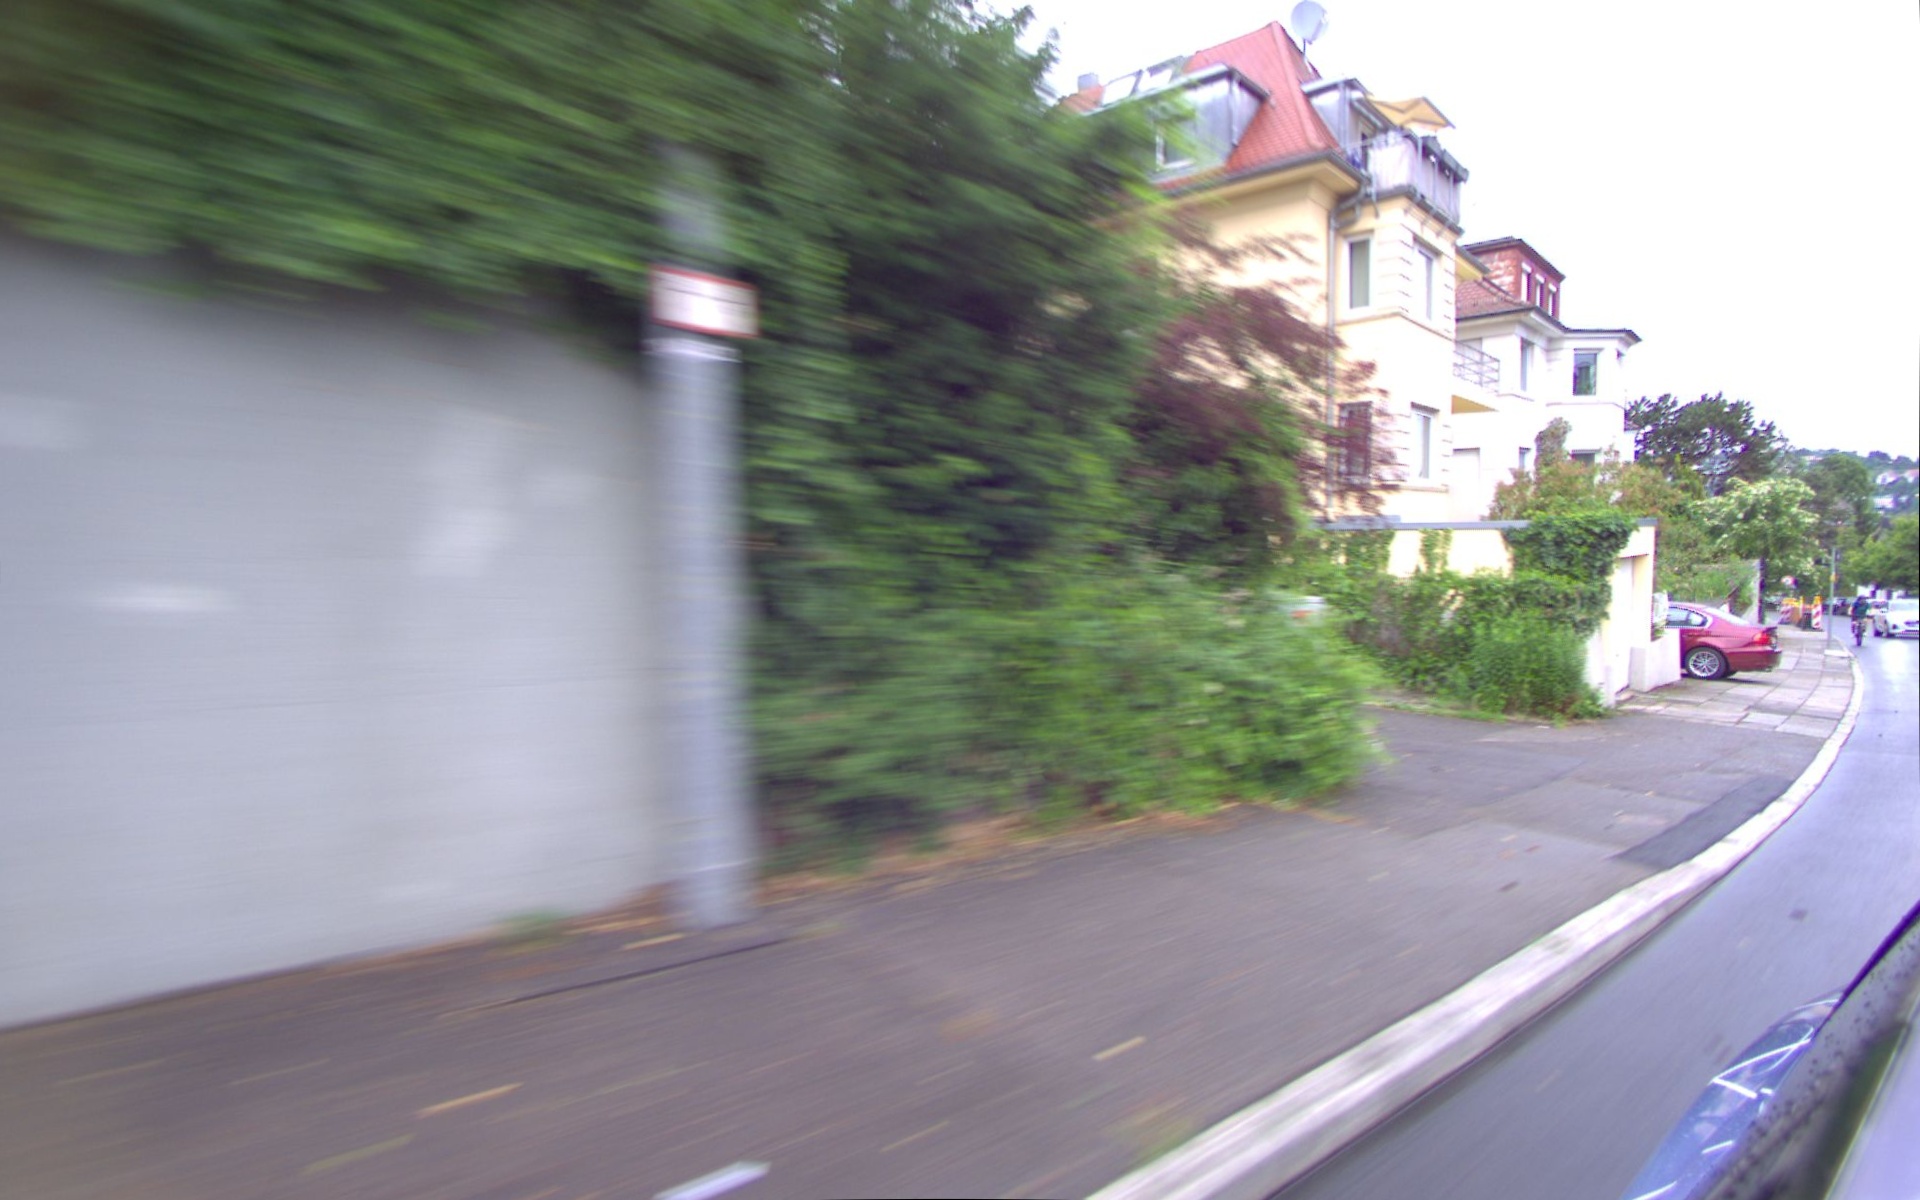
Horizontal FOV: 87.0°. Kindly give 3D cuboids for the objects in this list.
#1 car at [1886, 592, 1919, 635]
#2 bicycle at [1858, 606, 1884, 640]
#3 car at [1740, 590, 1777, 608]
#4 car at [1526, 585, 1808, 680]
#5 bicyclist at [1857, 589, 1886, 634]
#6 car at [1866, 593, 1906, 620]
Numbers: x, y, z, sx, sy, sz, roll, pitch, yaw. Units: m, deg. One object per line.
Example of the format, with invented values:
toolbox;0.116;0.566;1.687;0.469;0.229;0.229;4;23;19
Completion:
car;40.531;0.544;42.515;2.008;1.760;4.536;0;0;37
bicycle;31.706;0.784;35.228;0.587;1.113;1.507;0;1;39
car;85.689;-0.069;108.639;1.976;1.738;3.971;1;-2;21
car;13.641;0.551;19.707;1.803;1.423;4.176;1;3;-43
bicyclist;31.747;0.398;35.266;0.682;1.557;0.774;-1;0;39
car;73.925;0.496;80.827;1.990;2.038;3.945;3;2;38
